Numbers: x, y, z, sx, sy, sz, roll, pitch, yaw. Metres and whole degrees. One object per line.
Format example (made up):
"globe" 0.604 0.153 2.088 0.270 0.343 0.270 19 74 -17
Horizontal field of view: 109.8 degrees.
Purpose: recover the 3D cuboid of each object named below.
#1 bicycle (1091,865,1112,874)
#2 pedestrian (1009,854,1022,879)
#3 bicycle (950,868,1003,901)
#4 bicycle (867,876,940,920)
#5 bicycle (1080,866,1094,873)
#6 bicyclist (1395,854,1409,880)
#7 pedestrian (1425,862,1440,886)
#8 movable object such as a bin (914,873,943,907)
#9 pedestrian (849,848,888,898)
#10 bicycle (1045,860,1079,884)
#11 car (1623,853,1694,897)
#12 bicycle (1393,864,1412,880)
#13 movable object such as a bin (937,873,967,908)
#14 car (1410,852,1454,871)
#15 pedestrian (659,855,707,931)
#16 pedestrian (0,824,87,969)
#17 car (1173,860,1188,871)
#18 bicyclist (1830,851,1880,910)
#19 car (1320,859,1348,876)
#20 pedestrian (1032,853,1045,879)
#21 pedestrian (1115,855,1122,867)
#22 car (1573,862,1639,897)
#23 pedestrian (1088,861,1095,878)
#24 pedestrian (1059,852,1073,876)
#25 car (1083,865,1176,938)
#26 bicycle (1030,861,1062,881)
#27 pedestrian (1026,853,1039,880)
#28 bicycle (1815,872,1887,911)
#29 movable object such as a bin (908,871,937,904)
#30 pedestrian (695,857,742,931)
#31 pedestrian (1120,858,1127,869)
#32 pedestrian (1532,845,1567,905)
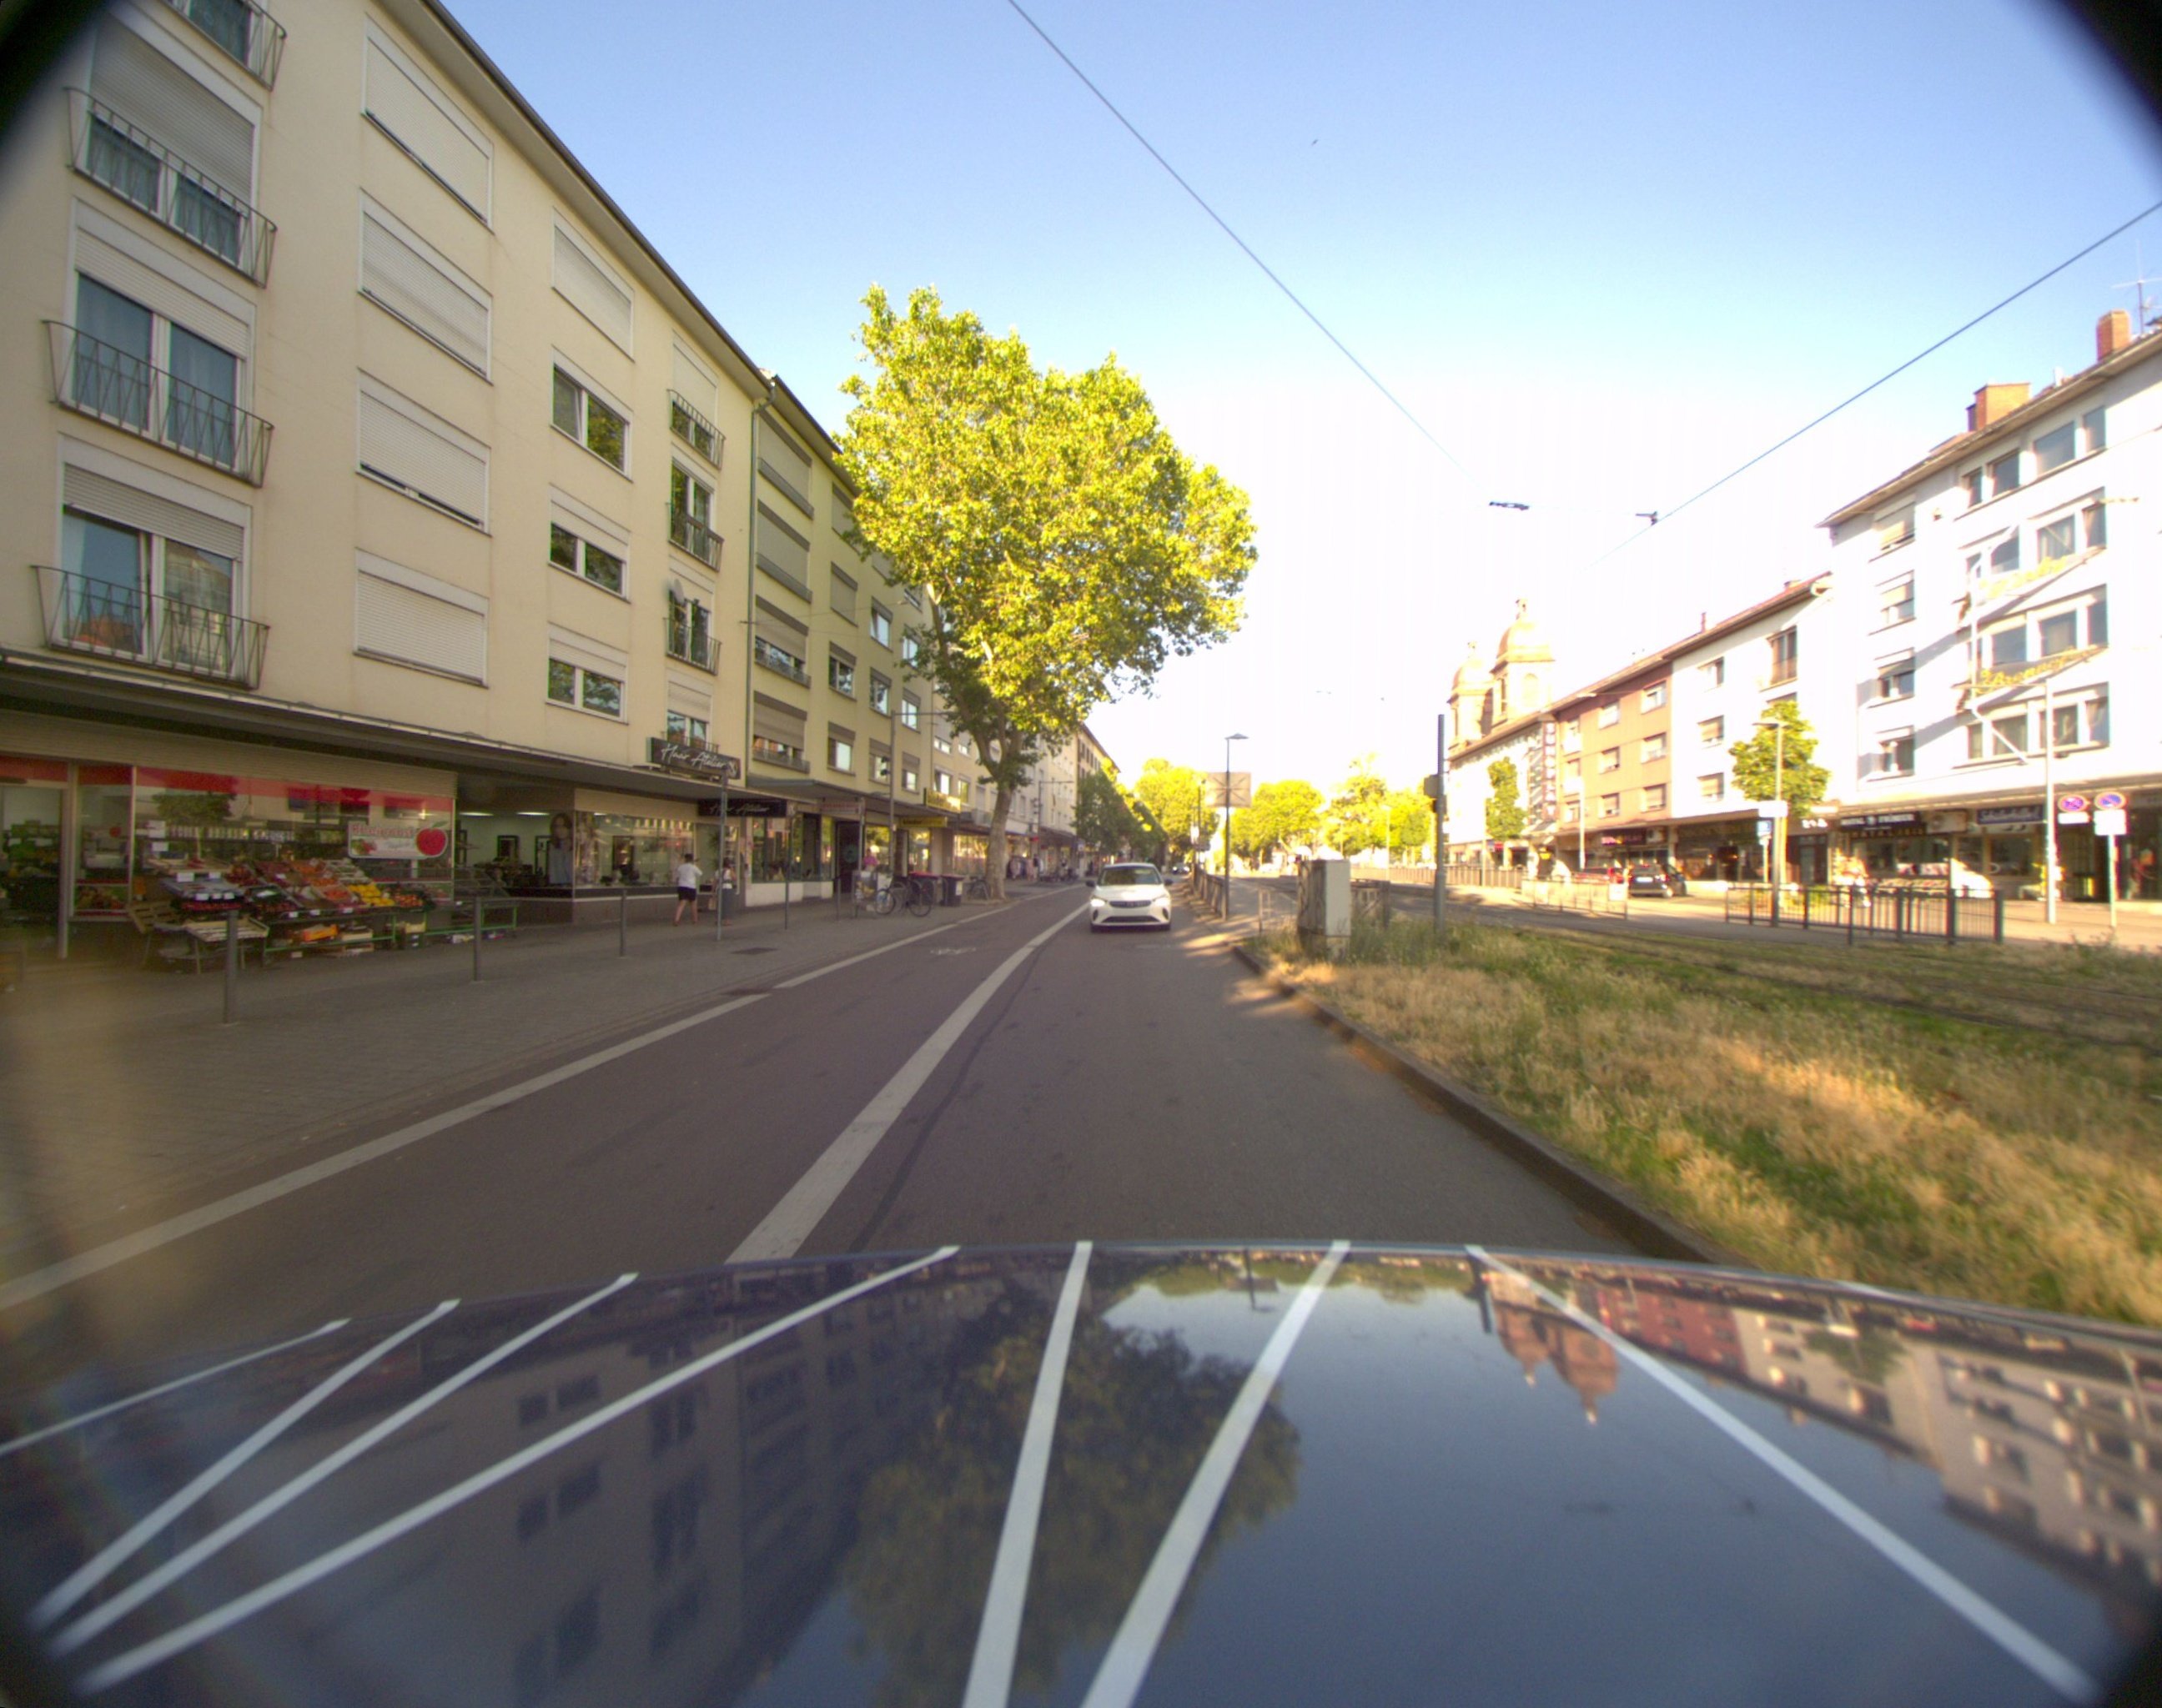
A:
"bicycle" 1.808 1.414 67.515 1.762 0.773 0.702 1 -1 -14
"pedestrian" -4.060 0.754 46.864 0.541 1.493 0.896 2 0 9
"bicycle" -3.757 1.080 27.376 1.721 1.111 0.745 0 4 8
"bicycle" -4.959 1.218 21.219 1.909 1.098 0.519 3 1 14
"bicycle" 0.555 1.411 67.724 0.840 0.569 1.759 1 -1 -14
"bicyclist" 25.024 1.017 59.172 0.765 2.002 0.912 1 0 7
"pedestrian" 26.748 1.487 57.808 0.768 1.777 0.725 -2 0 4
"movable object such as a bin" -5.056 1.188 25.230 0.723 1.066 0.644 4 1 6
"pedestrian" -7.689 0.679 27.543 0.969 1.753 1.134 1 1 9
"bicycle" -1.162 1.085 46.297 1.788 1.304 0.695 5 1 20
"car" 25.857 0.915 33.976 3.777 1.789 1.859 -2 0 -43
"bicycle" 25.017 1.411 59.168 0.719 1.223 2.280 1 0 7
"movable object such as a bin" -4.267 1.204 25.151 0.723 1.096 0.645 4 1 15
"car" 29.884 0.658 64.671 4.007 1.477 1.739 -2 0 -39
"pedestrian" -8.653 0.832 16.523 0.623 1.577 0.627 2 1 7
"pedestrian" -13.266 0.516 9.412 0.685 1.733 0.881 -2 0 5
"car" 13.470 1.506 102.800 1.717 1.390 4.001 -2 0 4
"bicyclist" 25.175 0.844 24.740 0.693 1.875 1.059 1 0 17
"car" 26.992 1.394 81.210 1.997 1.706 4.438 0 0 7
"pedestrian" -2.805 0.808 50.471 0.569 1.665 1.070 2 0 9
"pedestrian" 5.457 1.048 111.361 0.851 1.644 0.916 -2 0 8
"car" 25.550 1.217 36.958 3.777 1.482 1.859 -2 0 -43
"pedestrian" 1.023 1.478 73.208 0.490 1.558 0.649 2 0 10
"pedestrian" -1.166 0.771 58.504 0.774 1.789 0.931 3 0 10
"car" 1.071 0.986 17.120 1.826 1.433 3.829 -1 -1 3
"bicycle" -2.170 1.053 47.384 1.795 1.118 0.663 5 1 -19
"pedestrian" -2.954 0.760 46.096 0.547 1.619 0.896 2 0 9
"bicycle" 25.236 1.209 24.956 0.706 1.152 2.201 1 0 17
"movable object such as a bin" -5.412 1.145 25.943 0.722 1.066 0.645 2 1 27
"pedestrian" -7.904 0.857 16.592 0.636 1.577 0.627 2 1 7
"pedestrian" 6.589 1.419 117.837 0.851 1.644 0.916 -2 0 8
"pedestrian" 14.642 0.644 23.761 0.743 1.838 0.590 0 0 3
